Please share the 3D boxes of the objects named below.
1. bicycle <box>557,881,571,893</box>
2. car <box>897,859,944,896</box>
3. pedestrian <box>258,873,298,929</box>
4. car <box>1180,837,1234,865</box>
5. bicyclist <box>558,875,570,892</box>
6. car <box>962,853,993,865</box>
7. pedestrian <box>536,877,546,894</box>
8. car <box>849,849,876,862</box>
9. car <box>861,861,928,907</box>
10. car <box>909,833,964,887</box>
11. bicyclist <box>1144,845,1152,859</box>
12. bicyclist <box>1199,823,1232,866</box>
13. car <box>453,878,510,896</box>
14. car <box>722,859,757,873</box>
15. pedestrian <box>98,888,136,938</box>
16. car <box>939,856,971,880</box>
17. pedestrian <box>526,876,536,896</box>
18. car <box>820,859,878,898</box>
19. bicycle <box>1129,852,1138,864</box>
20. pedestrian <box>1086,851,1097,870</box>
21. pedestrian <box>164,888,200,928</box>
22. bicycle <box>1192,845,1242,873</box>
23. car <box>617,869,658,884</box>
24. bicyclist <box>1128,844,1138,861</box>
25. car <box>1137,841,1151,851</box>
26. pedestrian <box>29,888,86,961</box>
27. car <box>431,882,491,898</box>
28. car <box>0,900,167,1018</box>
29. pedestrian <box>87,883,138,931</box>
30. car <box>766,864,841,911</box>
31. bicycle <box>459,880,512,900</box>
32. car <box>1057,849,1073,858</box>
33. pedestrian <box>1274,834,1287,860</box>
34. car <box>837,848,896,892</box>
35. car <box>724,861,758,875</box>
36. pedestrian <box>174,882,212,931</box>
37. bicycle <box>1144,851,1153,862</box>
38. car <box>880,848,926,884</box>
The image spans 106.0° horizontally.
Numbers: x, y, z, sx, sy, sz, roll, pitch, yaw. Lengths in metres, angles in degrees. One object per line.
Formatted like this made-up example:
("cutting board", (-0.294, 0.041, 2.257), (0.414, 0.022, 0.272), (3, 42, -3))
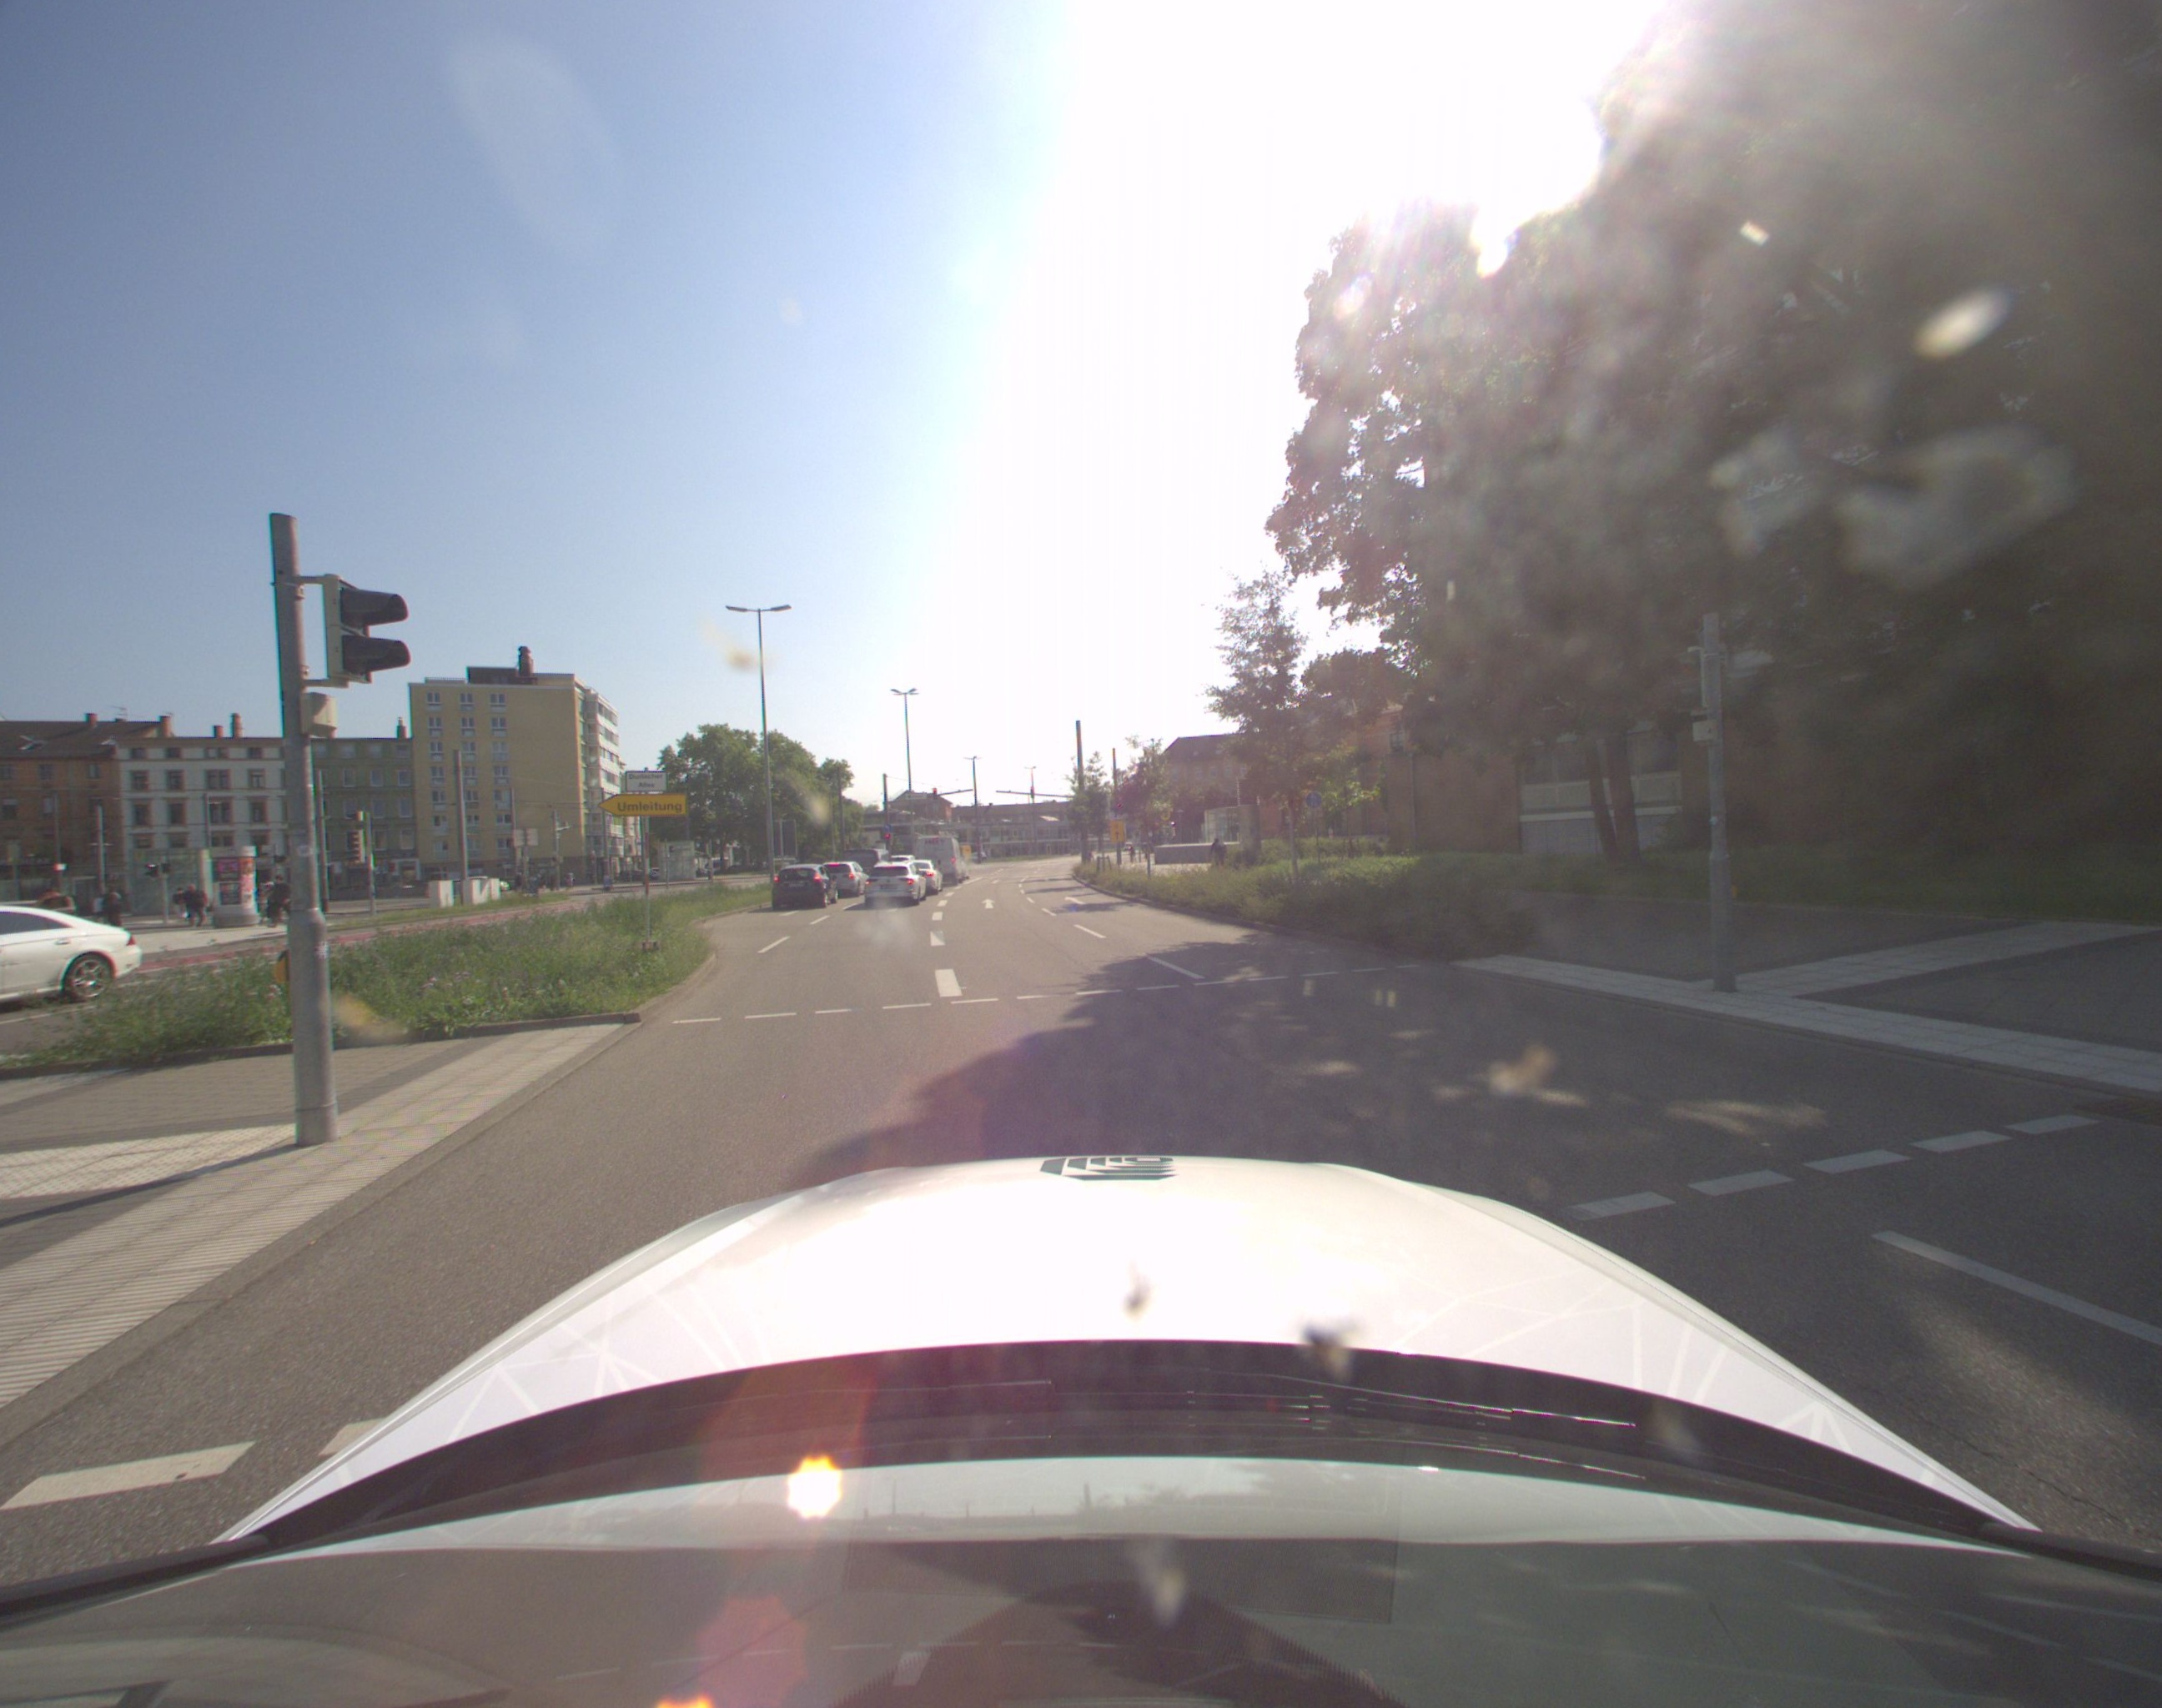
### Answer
("bicycle", (-45.020, 2.890, 70.972), (0.731, 0.984, 1.718), (-3, 0, -23))
("car", (-6.575, 0.934, 33.695), (1.487, 1.403, 3.934), (-2, 0, -6))
("pedestrian", (-27.560, 1.591, 27.975), (0.853, 1.778, 0.866), (-4, 3, -43))
("car", (10.221, -0.260, 66.032), (4.007, 2.013, 1.739), (-3, 3, -26))
("bicyclist", (-45.049, 2.532, 71.011), (0.729, 1.434, 0.684), (-3, 0, -23))
("car", (-14.056, 0.666, 110.694), (3.969, 1.342, 1.922), (-3, 0, -12))
("pedestrian", (-47.066, 2.746, 70.965), (0.435, 1.487, 0.502), (0, 3, 32))
("car", (-36.302, 0.246, 135.177), (3.985, 2.013, 1.995), (-2, 3, -9))
("car", (-6.188, 0.962, 27.365), (1.683, 1.387, 3.627), (-2, 0, -6))
("car", (-7.444, 0.313, 42.403), (2.184, 2.549, 4.677), (-2, 0, -4))
("bicyclist", (6.635, -0.210, 80.596), (0.702, 1.394, 0.831), (-3, 0, 7))
("bicyclist", (5.076, -0.347, 30.754), (0.775, 1.578, 0.982), (-3, 0, -25))
("car", (-54.386, 2.959, 73.937), (3.749, 1.393, 1.577), (-3, 0, -19))
("car", (-45.445, 1.585, 108.488), (3.995, 1.618, 1.804), (-3, 0, -16))
("pedestrian", (-31.447, 1.918, 26.559), (0.496, 1.579, 0.507), (-2, 2, -5))
("car", (-7.774, 0.839, 50.583), (1.634, 1.403, 3.681), (-2, 0, -4))
("pedestrian", (-47.098, 2.736, 69.716), (0.454, 1.684, 0.546), (-2, 2, -7))
("car", (-9.585, 0.983, 33.849), (1.486, 1.415, 3.643), (-2, 1, -4))
("bicycle", (4.838, 0.350, 75.185), (0.702, 1.061, 1.986), (-3, 0, 7))
("pedestrian", (0.784, 0.468, 59.779), (0.636, 1.362, 0.632), (-3, 0, -10))
("pedestrian", (-42.561, 2.555, 38.564), (0.835, 1.819, 0.773), (-2, -2, -19))
("bicycle", (5.105, 0.201, 30.754), (0.775, 0.976, 2.132), (-3, 0, -24))
("car", (-53.027, 2.680, 97.418), (3.999, 1.557, 1.857), (-3, 3, -19))
("bicyclist", (4.804, -0.175, 75.198), (0.709, 1.529, 0.808), (-3, 0, 7))
("car", (13.817, -1.848, 179.519), (2.397, 2.013, 4.794), (-3, 1, 11))
("pedestrian", (-26.030, 1.765, 20.719), (0.682, 1.759, 0.868), (-3, 0, -40))
("car", (-53.919, 3.129, 70.866), (3.838, 1.180, 1.567), (-3, -2, -16))
("car", (-14.118, 1.343, 9.695), (1.844, 1.361, 4.797), (-1, -1, -13))
("pedestrian", (-43.301, 2.353, 36.426), (0.961, 2.013, 1.015), (-3, 3, -19))
("car", (-9.300, 1.074, 27.585), (1.701, 1.368, 3.951), (-2, 0, -9))
("bicycle", (-59.147, 3.563, 80.899), (4.002, 1.551, 1.187), (-3, 3, -22))
("car", (-3.093, -0.096, 158.279), (1.978, 1.442, 4.019), (-3, 0, 18))
("pedestrian", (12.872, -0.465, 52.620), (0.612, 1.628, 0.534), (-3, 0, 0))
("car", (-10.684, 0.777, 40.894), (2.020, 2.008, 4.675), (-2, 0, -5))
("car", (-46.285, 1.886, 110.869), (3.995, 1.618, 1.804), (-3, 0, -16))
("pedestrian", (-35.079, 2.049, 32.180), (0.885, 1.818, 0.887), (1, 3, 45))
("bicycle", (6.655, 0.241, 80.577), (0.702, 1.061, 1.986), (-3, 0, 7))
("car", (-10.649, 0.683, 49.081), (2.020, 2.008, 4.675), (-2, 0, -5))
